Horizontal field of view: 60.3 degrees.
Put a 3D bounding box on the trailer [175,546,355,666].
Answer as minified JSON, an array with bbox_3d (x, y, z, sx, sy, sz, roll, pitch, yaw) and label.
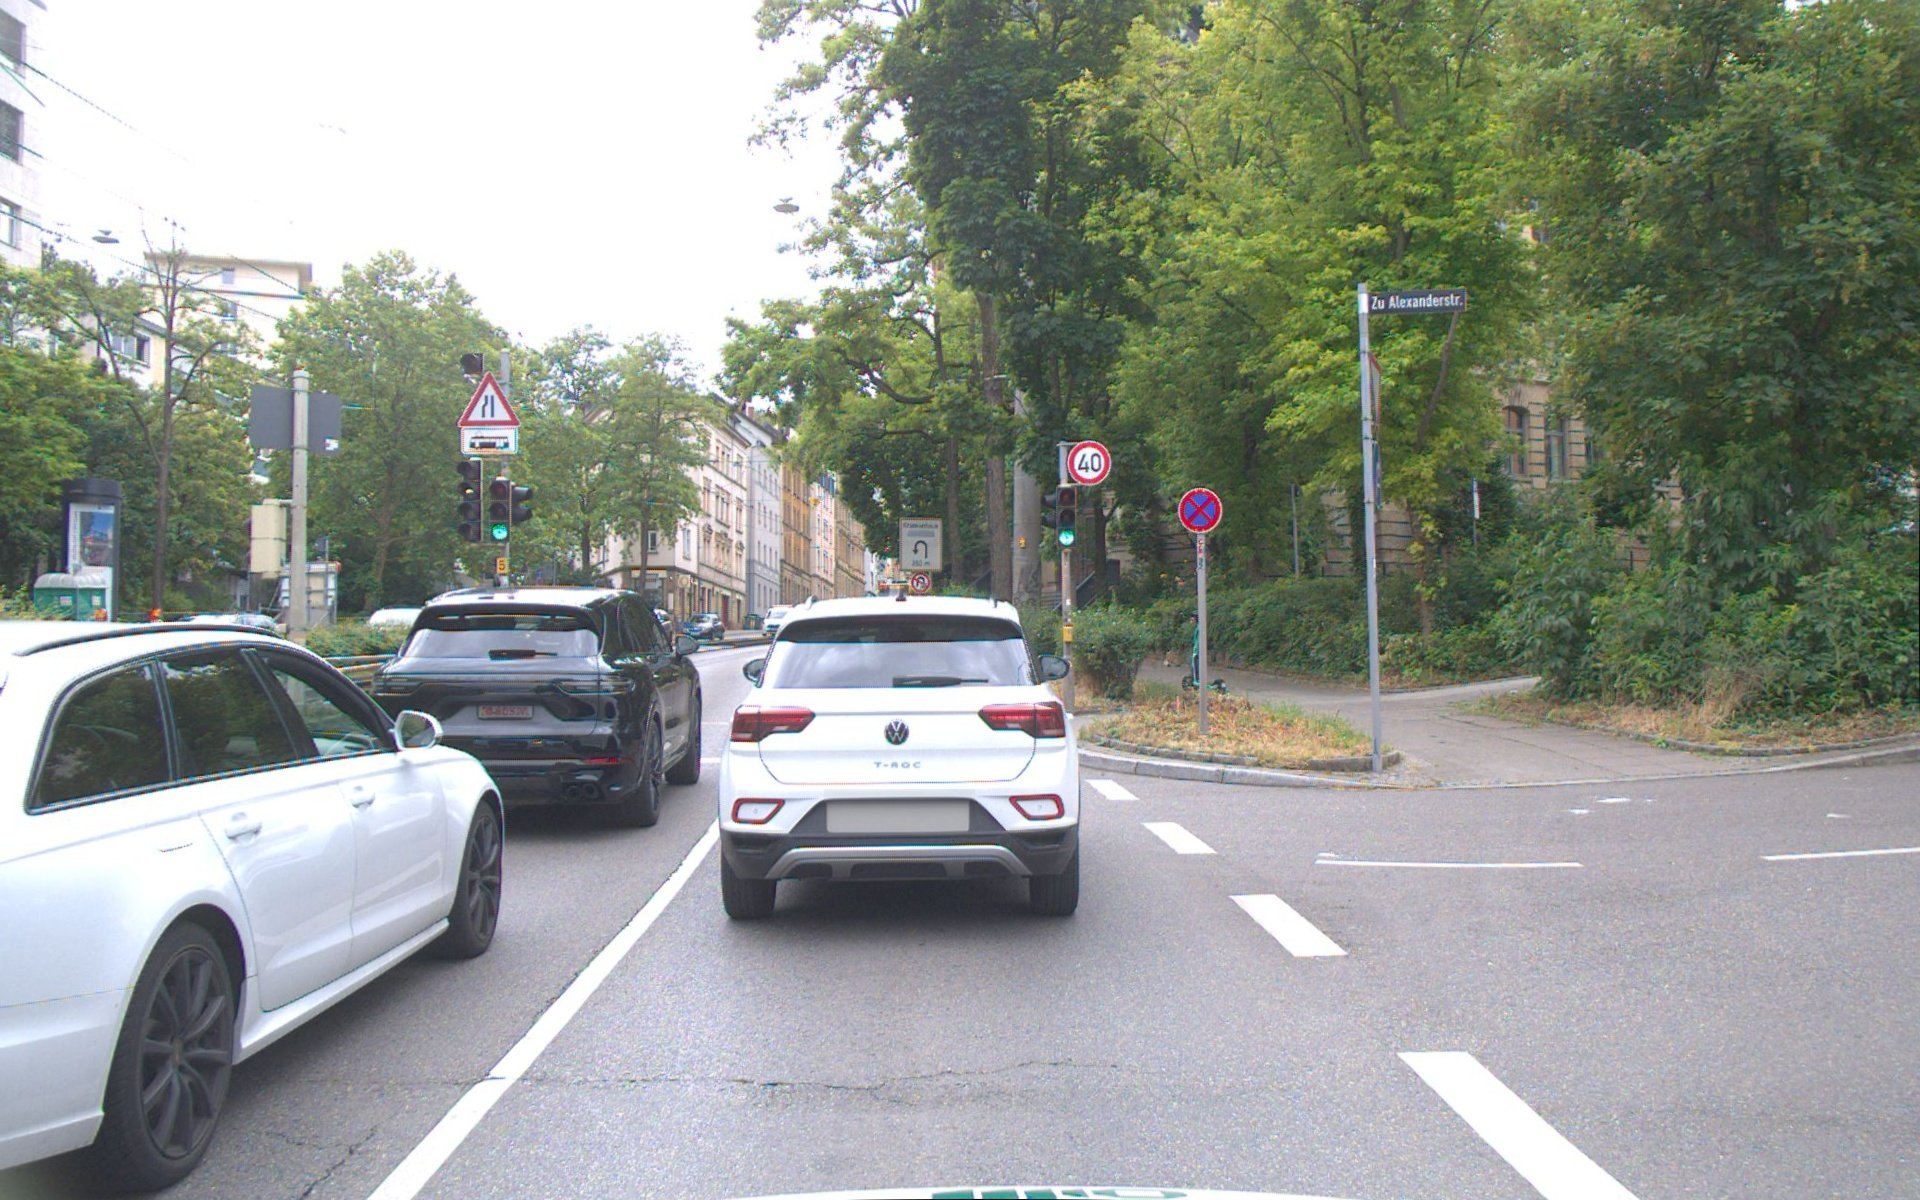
[{"bbox_3d":[-18.765,0.166,44.995,1.976,3.025,5.593,1,0,6],"label":"trailer"}]

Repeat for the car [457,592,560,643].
[{"bbox_3d":[-15.354,0.586,56.513,1.952,1.633,4.612,-1,0,4],"label":"car"}]

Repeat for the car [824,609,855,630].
[{"bbox_3d":[-9.531,1.528,131.242,1.952,1.579,4.001,-1,0,2],"label":"car"}]

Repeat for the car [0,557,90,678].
[{"bbox_3d":[-21.945,0.403,36.288,2.112,2.639,6.338,-1,0,2],"label":"car"}]

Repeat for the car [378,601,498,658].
[{"bbox_3d":[-15.890,0.855,50.618,1.952,1.633,4.622,-1,0,4],"label":"car"}]

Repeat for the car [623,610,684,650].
[{"bbox_3d":[-13.493,1.298,73.041,1.953,1.646,4.000,-1,0,0],"label":"car"}]

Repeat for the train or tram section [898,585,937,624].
[{"bbox_3d":[-4.293,0.455,171.430,2.822,3.791,14.861,1,0,3],"label":"train or tram section"}]

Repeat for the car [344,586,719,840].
[{"bbox_3d":[-3.049,0.730,12.758,1.997,1.599,4.354,-1,0,-4],"label":"car"}]

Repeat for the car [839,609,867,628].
[{"bbox_3d":[-9.220,1.592,142.811,1.952,1.579,4.001,-1,0,2],"label":"car"}]

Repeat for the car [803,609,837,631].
[{"bbox_3d":[-10.401,1.471,123.125,1.952,1.579,4.001,-1,0,2],"label":"car"}]

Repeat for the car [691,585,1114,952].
[{"bbox_3d":[-0.295,0.747,9.251,1.841,1.582,3.999,-1,0,-1],"label":"car"}]

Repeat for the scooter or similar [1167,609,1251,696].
[{"bbox_3d":[3.674,0.757,24.508,0.620,1.231,1.550,-1,0,-17],"label":"scooter or similar"}]

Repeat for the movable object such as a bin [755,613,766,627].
[{"bbox_3d":[-15.781,1.580,130.725,0.712,1.092,0.672,0,-1,4],"label":"movable object such as a bin"}]

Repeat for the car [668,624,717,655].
[{"bbox_3d":[-13.732,2.007,84.972,1.730,1.432,4.083,-1,0,2],"label":"car"}]

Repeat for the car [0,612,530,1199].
[{"bbox_3d":[-2.893,0.794,5.438,1.841,1.480,4.616,-1,0,-1],"label":"car"}]

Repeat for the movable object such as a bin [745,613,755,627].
[{"bbox_3d":[-16.057,1.552,126.491,0.672,1.092,0.677,0,-1,4],"label":"movable object such as a bin"}]

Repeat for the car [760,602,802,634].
[{"bbox_3d":[-11.656,1.163,108.080,1.906,1.980,5.005,0,0,4],"label":"car"}]
